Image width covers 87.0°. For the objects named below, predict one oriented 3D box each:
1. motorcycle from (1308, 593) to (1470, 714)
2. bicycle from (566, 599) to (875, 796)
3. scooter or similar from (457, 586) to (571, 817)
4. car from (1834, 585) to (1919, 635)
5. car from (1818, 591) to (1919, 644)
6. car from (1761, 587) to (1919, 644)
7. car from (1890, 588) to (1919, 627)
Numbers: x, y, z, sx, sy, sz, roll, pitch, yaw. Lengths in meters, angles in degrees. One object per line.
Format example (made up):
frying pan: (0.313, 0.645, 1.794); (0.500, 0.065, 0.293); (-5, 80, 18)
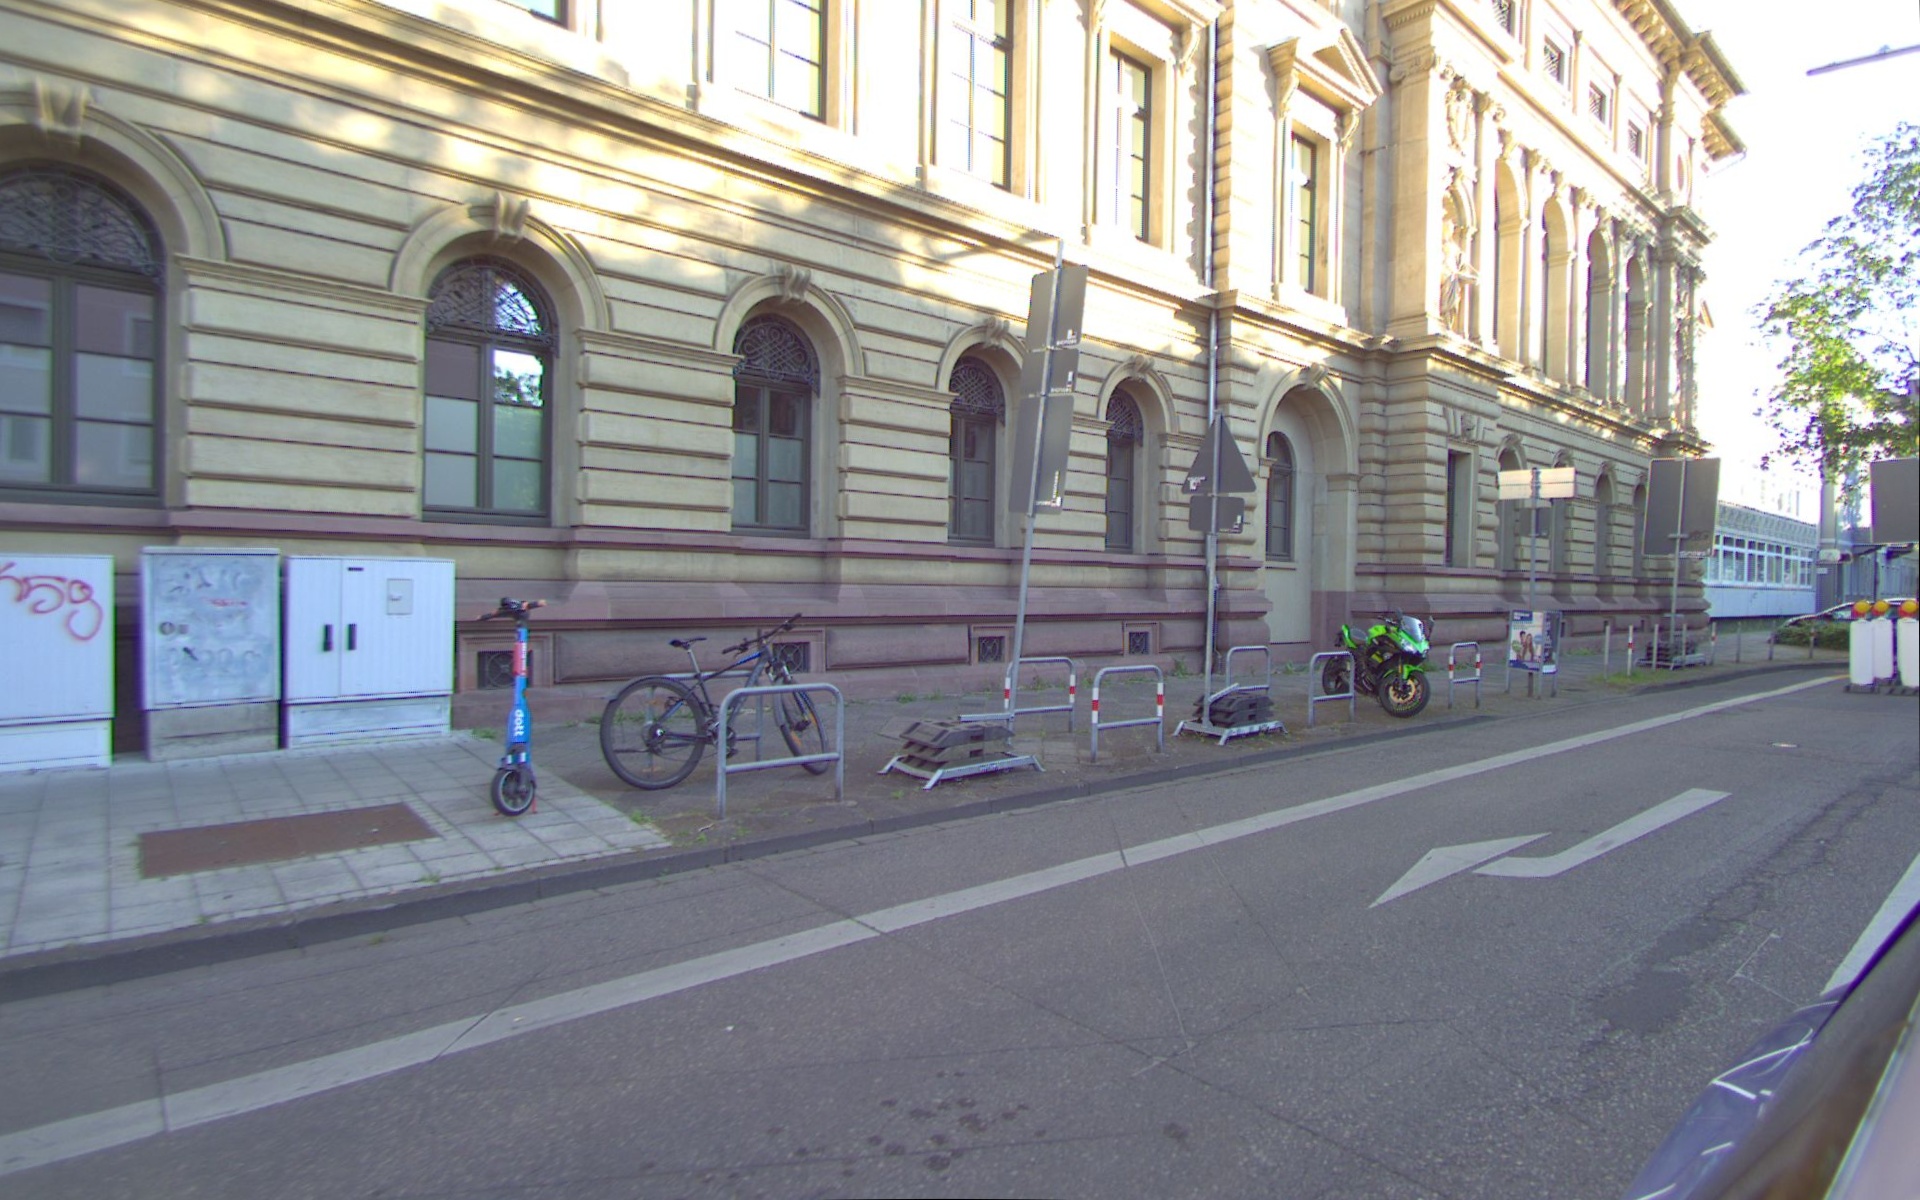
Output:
motorcycle: (5.116, 0.586, 12.263); (0.695, 1.229, 2.109); (2, 3, -11)
bicycle: (-1.636, 0.595, 7.095); (1.910, 1.148, 0.829); (0, 4, -41)
scooter or similar: (-2.695, 0.553, 6.170); (0.571, 1.210, 1.137); (1, 3, -22)
car: (34.950, 0.392, 36.951); (2.020, 1.662, 4.364); (0, 4, -43)
car: (30.481, 0.608, 32.394); (1.643, 1.513, 4.367); (0, 4, -40)
car: (27.860, 0.450, 31.499); (1.804, 1.482, 4.362); (0, 4, -44)
car: (43.280, 0.413, 43.721); (1.704, 1.644, 4.364); (0, 3, -42)
